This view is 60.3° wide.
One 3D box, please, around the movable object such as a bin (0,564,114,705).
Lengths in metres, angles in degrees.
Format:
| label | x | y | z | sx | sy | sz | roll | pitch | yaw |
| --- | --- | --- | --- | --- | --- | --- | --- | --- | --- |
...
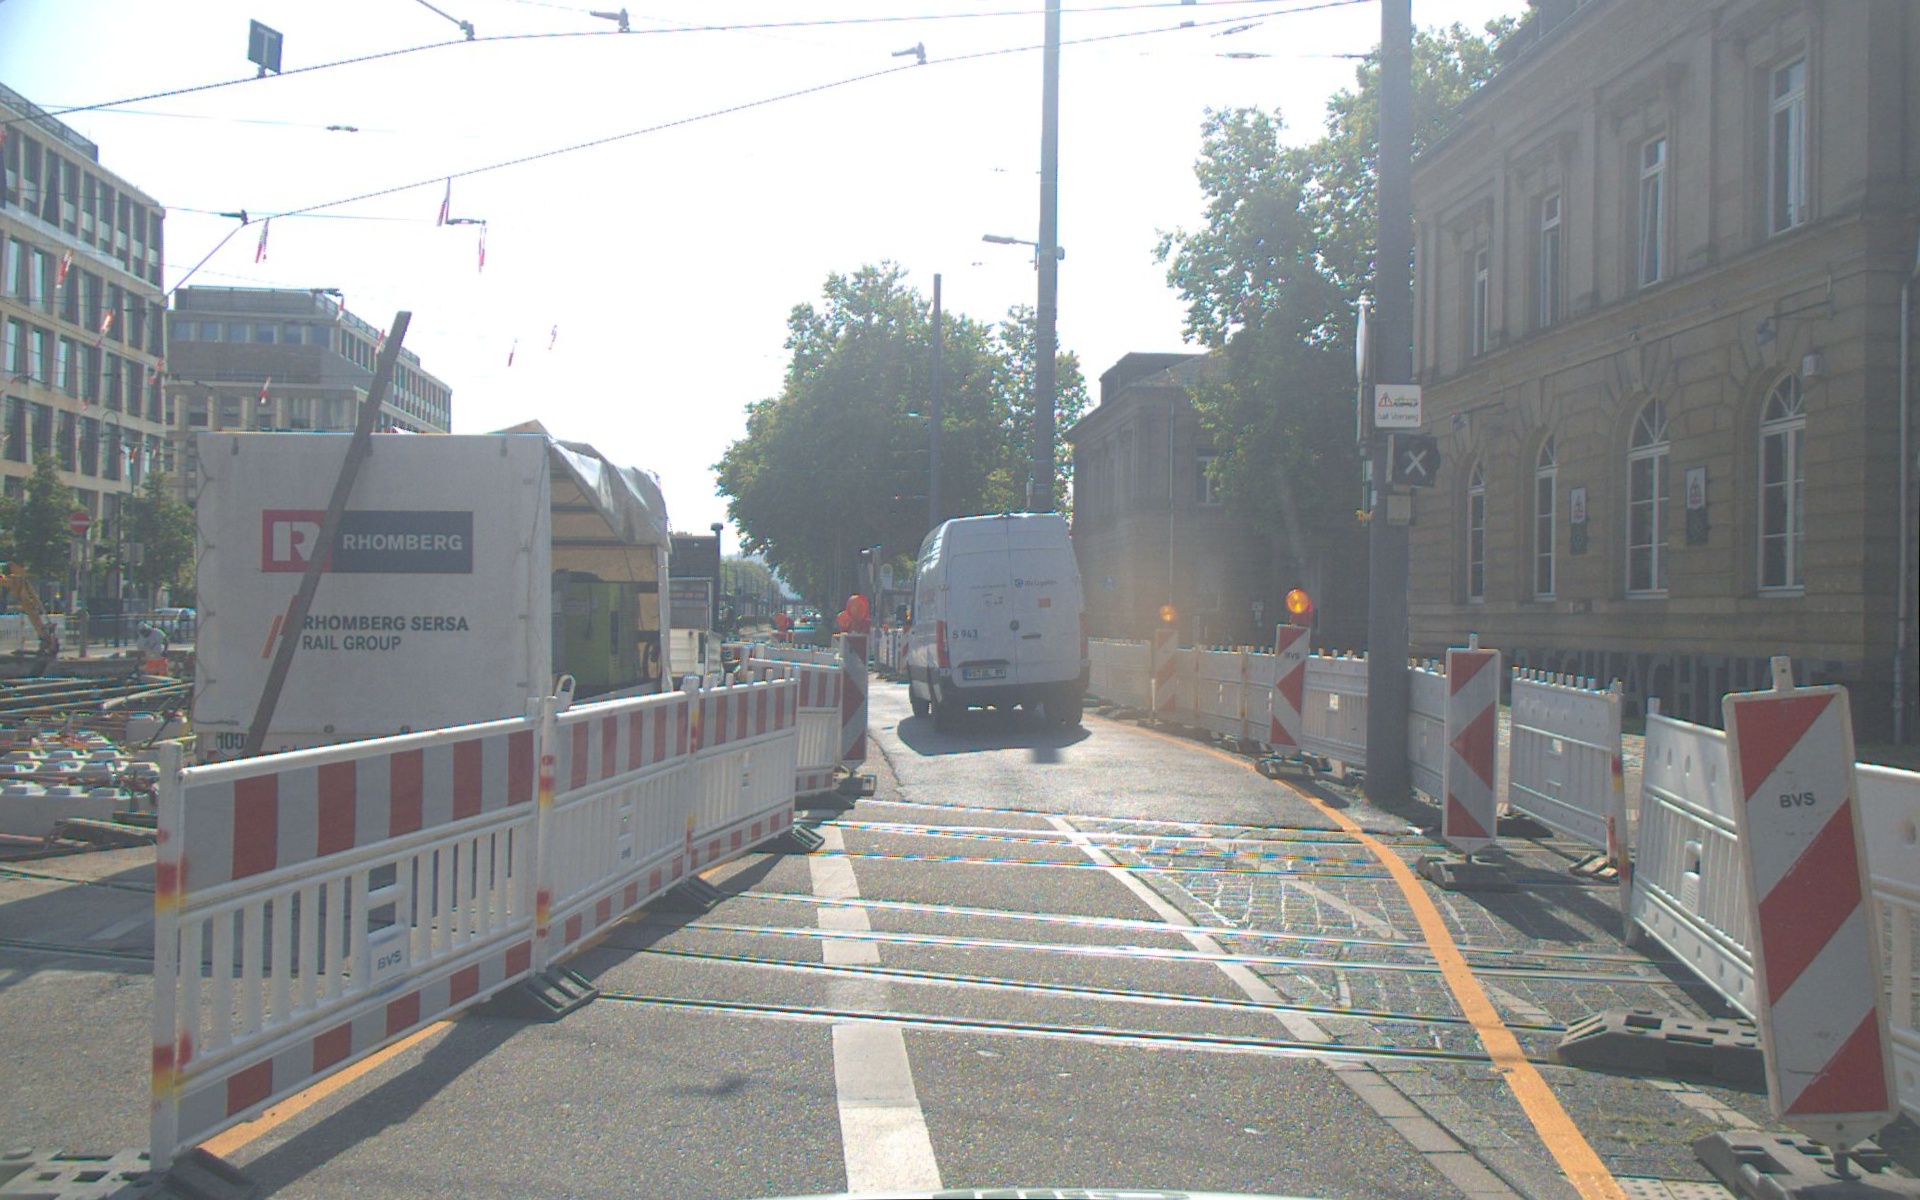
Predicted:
| label | x | y | z | sx | sy | sz | roll | pitch | yaw |
| --- | --- | --- | --- | --- | --- | --- | --- | --- | --- |
| movable object such as a bin | -22.349 | 0.724 | 36.457 | 3.543 | 3.010 | 8.466 | 2 | -2 | -5 |

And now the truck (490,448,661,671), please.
| label | x | y | z | sx | sy | sz | roll | pitch | yaw |
| --- | --- | --- | --- | --- | --- | --- | --- | --- | --- |
| truck | -8.191 | -0.732 | 34.451 | 2.748 | 3.981 | 8.378 | 2 | -1 | -17 |

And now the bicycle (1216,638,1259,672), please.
| label | x | y | z | sx | sy | sz | roll | pitch | yaw |
| --- | --- | --- | --- | --- | --- | --- | --- | --- | --- |
| bicycle | 9.247 | 1.817 | 55.146 | 0.485 | 1.017 | 1.805 | 1 | 2 | -24 |

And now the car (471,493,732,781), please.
| label | x | y | z | sx | sy | sz | roll | pitch | yaw |
| --- | --- | --- | --- | --- | --- | --- | --- | --- | --- |
| car | -3.578 | 0.383 | 17.870 | 2.166 | 2.467 | 7.186 | 0 | -1 | -8 |

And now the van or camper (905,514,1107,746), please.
| label | x | y | z | sx | sy | sz | roll | pitch | yaw |
| --- | --- | --- | --- | --- | --- | --- | --- | --- | --- |
| van or camper | 0.470 | 0.359 | 22.497 | 2.074 | 2.729 | 5.244 | -1 | 0 | -5 |
